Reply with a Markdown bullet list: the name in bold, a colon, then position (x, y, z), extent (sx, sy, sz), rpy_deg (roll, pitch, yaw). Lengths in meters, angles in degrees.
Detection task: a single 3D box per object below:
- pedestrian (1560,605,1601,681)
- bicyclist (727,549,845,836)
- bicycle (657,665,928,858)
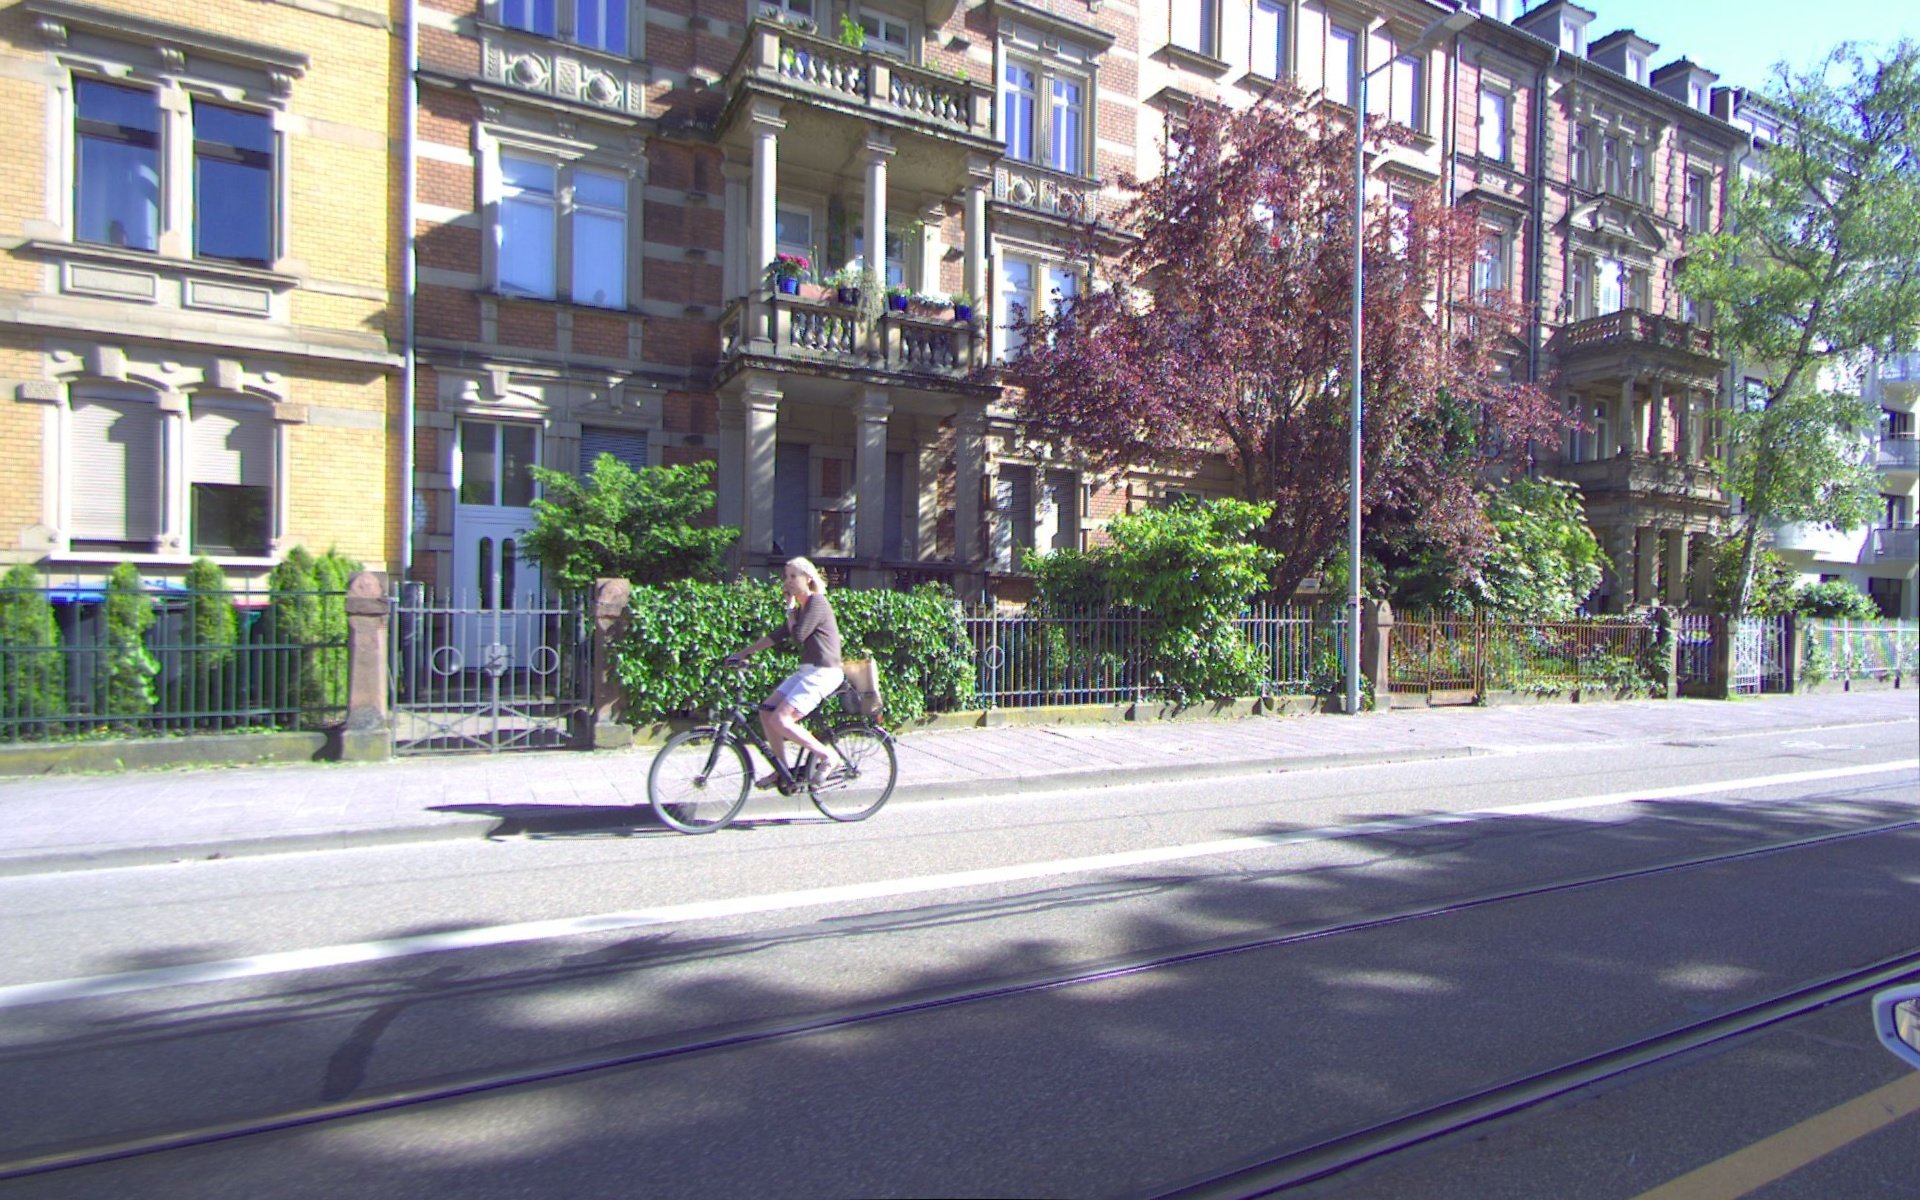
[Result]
- **pedestrian**: position (14.120, 0.973, 22.874), extent (0.599, 1.696, 0.511), rpy_deg (1, 1, -28)
- **bicyclist**: position (-1.192, 0.604, 6.836), extent (0.608, 1.825, 0.658), rpy_deg (1, -2, -27)
- **bicycle**: position (-1.130, 1.035, 6.856), extent (1.696, 1.127, 0.689), rpy_deg (1, -1, -28)
